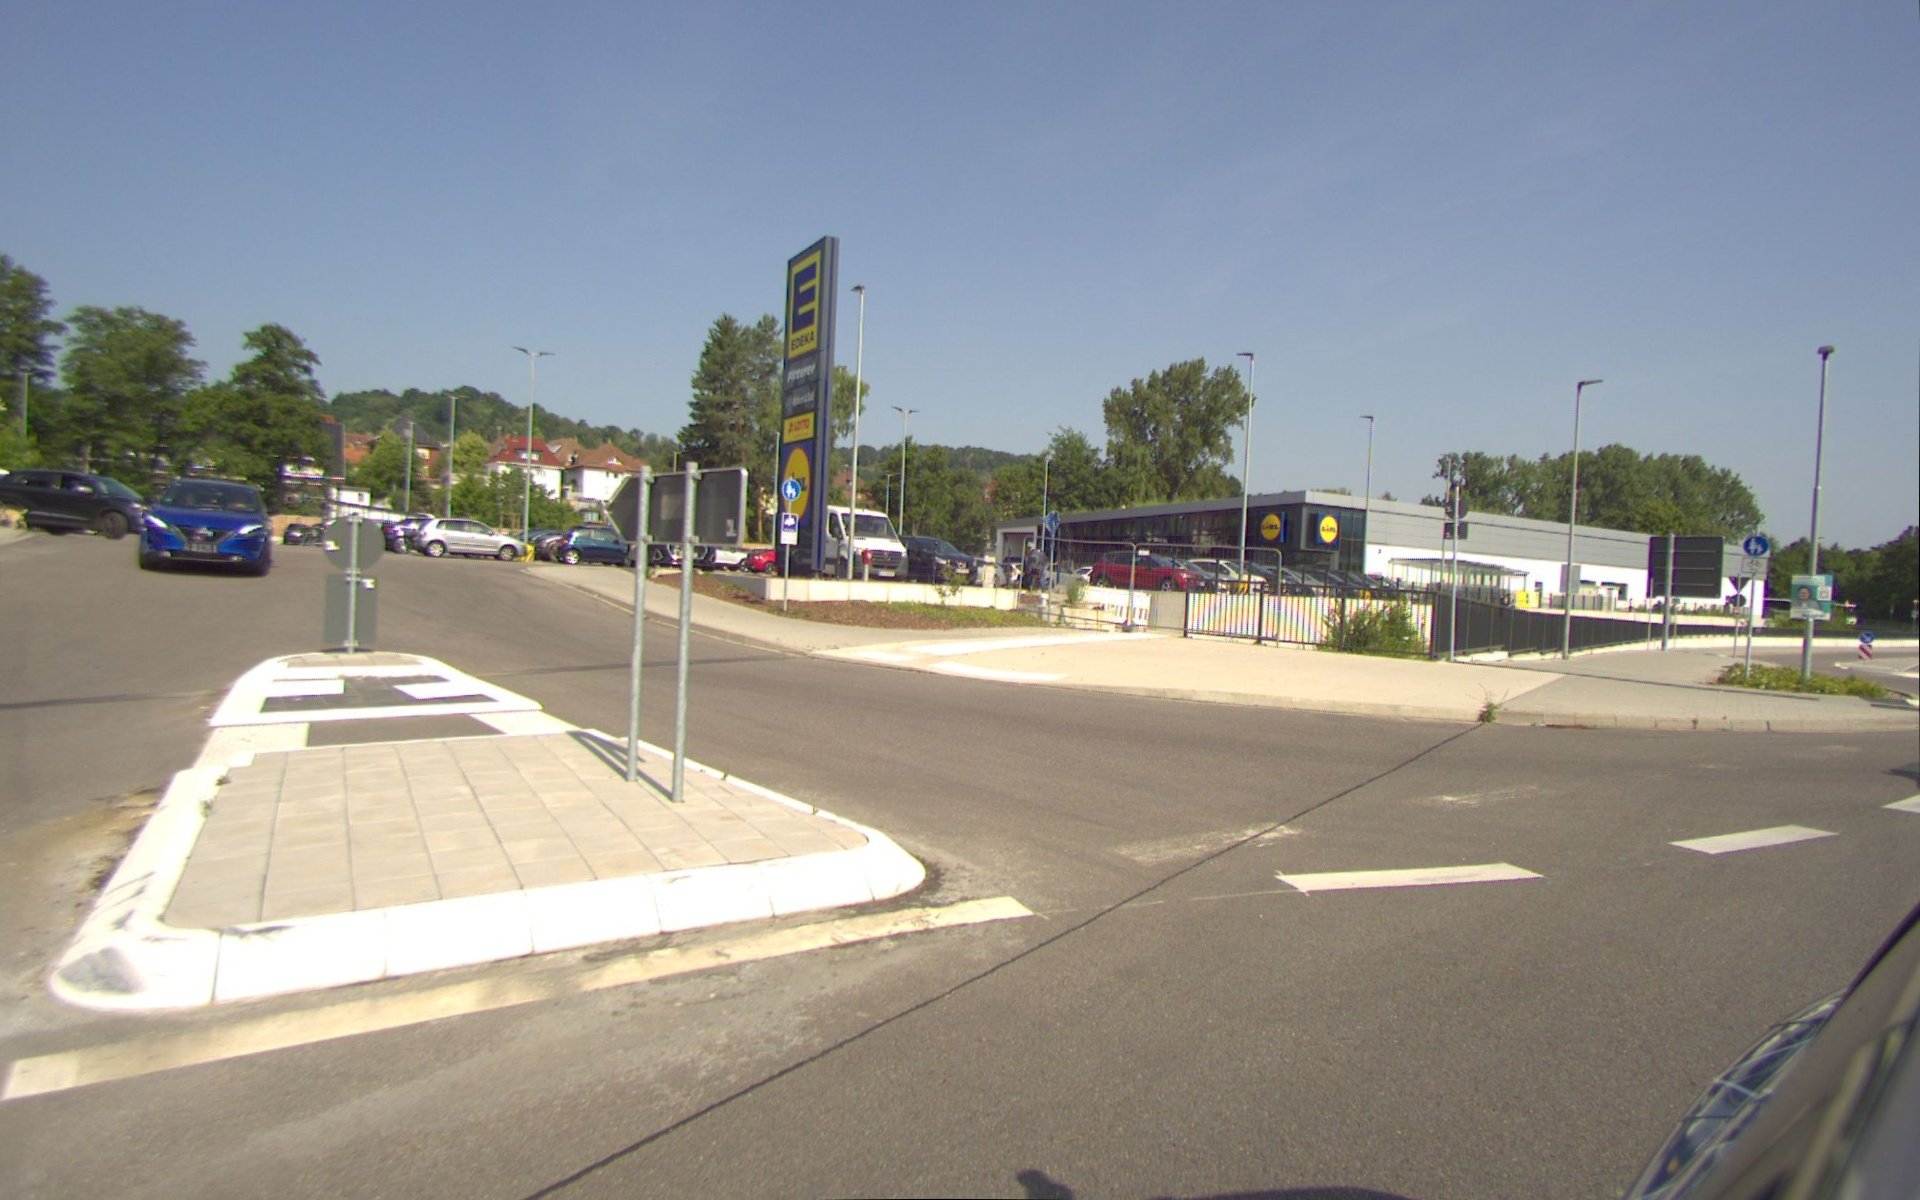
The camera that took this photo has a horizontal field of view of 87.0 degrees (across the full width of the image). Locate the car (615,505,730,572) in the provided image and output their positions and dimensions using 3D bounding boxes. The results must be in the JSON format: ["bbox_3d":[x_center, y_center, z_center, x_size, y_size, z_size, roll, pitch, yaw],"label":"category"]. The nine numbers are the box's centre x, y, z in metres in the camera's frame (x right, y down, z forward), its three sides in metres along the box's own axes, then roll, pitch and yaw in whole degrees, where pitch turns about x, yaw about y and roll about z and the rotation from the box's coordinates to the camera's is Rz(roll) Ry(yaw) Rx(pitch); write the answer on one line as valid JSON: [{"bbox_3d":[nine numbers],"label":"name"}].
[{"bbox_3d":[-8.148,-1.634,28.386,1.884,1.550,4.865,2,-1,-31],"label":"car"}]

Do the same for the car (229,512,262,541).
[{"bbox_3d":[-49.142,-5.034,69.619,1.702,1.683,4.001,2,-1,-34],"label":"car"}]

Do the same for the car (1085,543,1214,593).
[{"bbox_3d":[6.489,-1.074,34.808,4.004,1.594,1.753,1,-1,40],"label":"car"}]

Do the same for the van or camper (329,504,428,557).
[{"bbox_3d":[-36.976,-4.353,64.397,5.187,2.884,2.294,2,-1,-37],"label":"van or camper"}]

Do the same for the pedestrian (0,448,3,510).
[{"bbox_3d":[-21.302,-2.441,21.647,0.745,1.763,0.878,1,-1,9],"label":"pedestrian"}]

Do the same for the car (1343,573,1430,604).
[{"bbox_3d":[23.346,-0.626,55.490,4.108,1.594,1.681,1,-1,37],"label":"car"}]

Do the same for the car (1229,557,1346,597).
[{"bbox_3d":[13.737,-0.968,42.586,4.391,1.594,1.681,1,-1,37],"label":"car"}]

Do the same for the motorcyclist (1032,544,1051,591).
[{"bbox_3d":[2.783,-1.102,34.446,0.507,1.562,0.579,1,-1,16],"label":"motorcyclist"}]

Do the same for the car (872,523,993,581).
[{"bbox_3d":[-0.963,-1.462,32.280,1.797,1.622,4.479,2,-1,-32],"label":"car"}]

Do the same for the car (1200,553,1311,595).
[{"bbox_3d":[11.881,-1.030,40.793,3.978,1.594,1.681,1,-1,37],"label":"car"}]

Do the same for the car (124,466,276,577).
[{"bbox_3d":[-14.295,-1.522,18.936,1.855,1.682,4.350,1,6,-42],"label":"car"}]

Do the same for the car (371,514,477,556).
[{"bbox_3d":[-20.772,-2.490,39.275,3.309,1.391,1.522,2,0,-44],"label":"car"}]

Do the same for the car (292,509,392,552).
[{"bbox_3d":[-34.382,-3.840,56.387,4.560,2.001,1.999,2,-1,-37],"label":"car"}]

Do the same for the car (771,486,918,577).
[{"bbox_3d":[-3.730,-1.978,31.439,2.020,2.414,6.095,2,-1,-33],"label":"car"}]

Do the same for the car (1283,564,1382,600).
[{"bbox_3d":[17.326,-0.842,47.146,3.978,1.594,1.681,1,-1,37],"label":"car"}]

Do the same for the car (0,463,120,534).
[{"bbox_3d":[-31.639,-3.466,34.338,1.993,2.039,4.574,1,-1,43],"label":"car"}]

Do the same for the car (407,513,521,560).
[{"bbox_3d":[-18.307,-2.320,37.383,3.562,1.464,1.526,2,-1,-35],"label":"car"}]

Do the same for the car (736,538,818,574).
[{"bbox_3d":[-9.395,-2.225,52.013,3.715,1.594,1.763,2,-1,-36],"label":"car"}]

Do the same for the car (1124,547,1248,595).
[{"bbox_3d":[8.090,-1.020,36.358,4.004,1.594,1.753,1,-1,40],"label":"car"}]

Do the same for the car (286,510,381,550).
[{"bbox_3d":[-36.738,-4.068,59.432,4.560,2.001,1.999,2,-1,-37],"label":"car"}]

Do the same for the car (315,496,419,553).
[{"bbox_3d":[-31.827,-4.005,54.358,4.560,2.650,1.999,2,-1,-37],"label":"car"}]

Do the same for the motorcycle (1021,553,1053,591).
[{"bbox_3d":[2.561,-0.912,33.798,0.578,1.206,1.906,3,0,-9],"label":"motorcycle"}]

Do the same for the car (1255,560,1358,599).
[{"bbox_3d":[15.277,-0.913,44.726,3.978,1.594,1.681,1,-1,37],"label":"car"}]

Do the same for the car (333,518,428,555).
[{"bbox_3d":[-27.236,-2.962,47.640,1.521,1.464,3.572,1,-1,45],"label":"car"}]

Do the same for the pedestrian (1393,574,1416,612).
[{"bbox_3d":[24.709,-0.389,56.230,0.847,2.039,0.833,2,-1,-37],"label":"pedestrian"}]

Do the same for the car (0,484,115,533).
[{"bbox_3d":[-29.618,-2.944,32.803,3.278,1.368,1.624,1,1,-45],"label":"car"}]

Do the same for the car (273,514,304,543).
[{"bbox_3d":[-46.929,-4.967,70.721,1.702,1.683,4.001,2,-1,-34],"label":"car"}]

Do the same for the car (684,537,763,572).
[{"bbox_3d":[-12.712,-2.419,54.485,3.715,1.594,1.763,2,-1,-36],"label":"car"}]

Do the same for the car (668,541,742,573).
[{"bbox_3d":[-14.668,-2.450,58.323,3.715,1.594,1.763,2,-1,-36],"label":"car"}]

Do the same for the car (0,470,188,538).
[{"bbox_3d":[-22.096,-2.416,25.354,4.147,1.409,1.646,4,3,-3],"label":"car"}]

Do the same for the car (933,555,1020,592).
[{"bbox_3d":[0.835,-1.261,49.924,3.927,1.638,1.998,2,-1,-39],"label":"car"}]

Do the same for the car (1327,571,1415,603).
[{"bbox_3d":[21.453,-0.694,52.854,3.978,1.594,1.681,1,-1,37],"label":"car"}]

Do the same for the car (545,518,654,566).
[{"bbox_3d":[-14.314,-2.267,40.273,3.715,1.594,1.763,2,-1,-36],"label":"car"}]

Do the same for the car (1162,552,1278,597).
[{"bbox_3d":[9.918,-0.956,38.762,3.978,1.594,1.681,1,-1,37],"label":"car"}]
